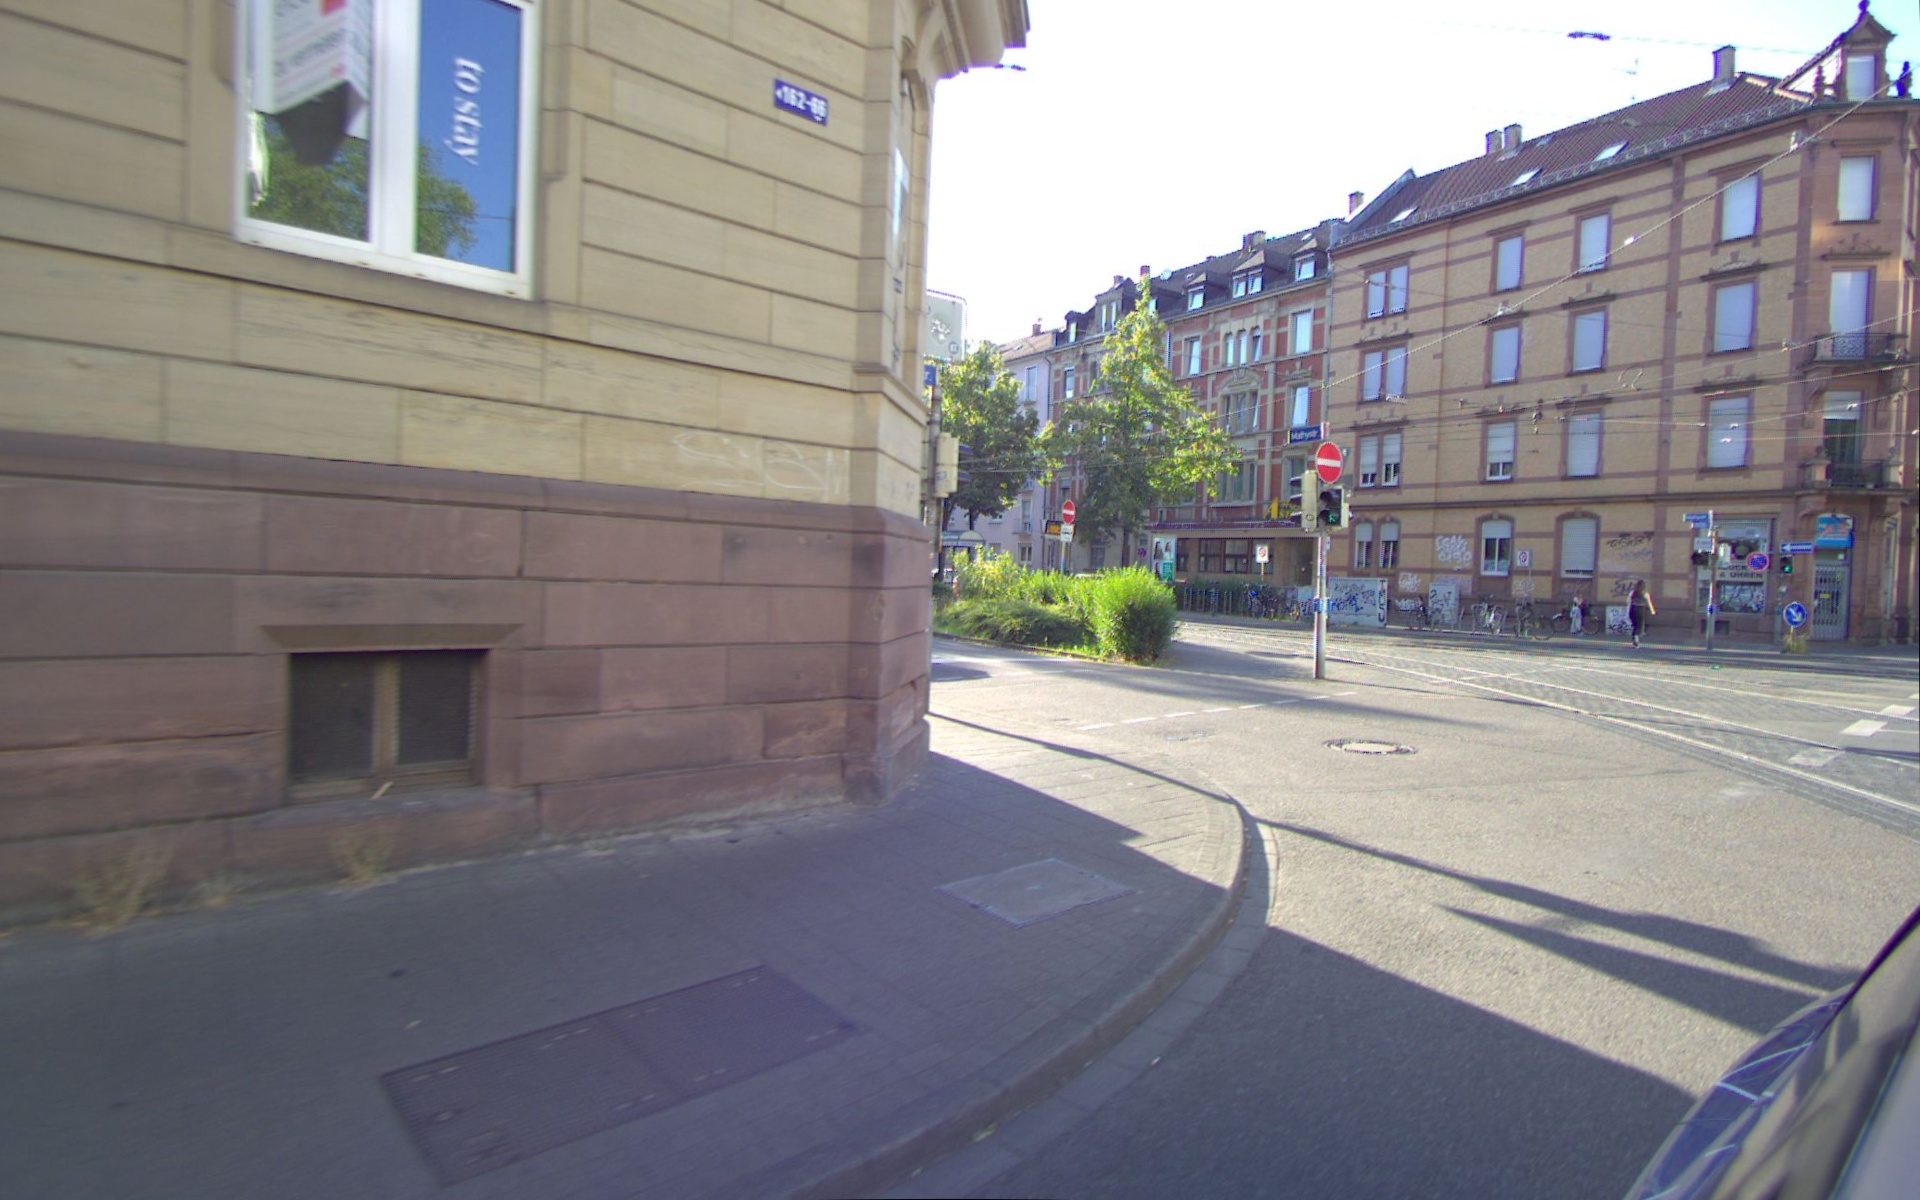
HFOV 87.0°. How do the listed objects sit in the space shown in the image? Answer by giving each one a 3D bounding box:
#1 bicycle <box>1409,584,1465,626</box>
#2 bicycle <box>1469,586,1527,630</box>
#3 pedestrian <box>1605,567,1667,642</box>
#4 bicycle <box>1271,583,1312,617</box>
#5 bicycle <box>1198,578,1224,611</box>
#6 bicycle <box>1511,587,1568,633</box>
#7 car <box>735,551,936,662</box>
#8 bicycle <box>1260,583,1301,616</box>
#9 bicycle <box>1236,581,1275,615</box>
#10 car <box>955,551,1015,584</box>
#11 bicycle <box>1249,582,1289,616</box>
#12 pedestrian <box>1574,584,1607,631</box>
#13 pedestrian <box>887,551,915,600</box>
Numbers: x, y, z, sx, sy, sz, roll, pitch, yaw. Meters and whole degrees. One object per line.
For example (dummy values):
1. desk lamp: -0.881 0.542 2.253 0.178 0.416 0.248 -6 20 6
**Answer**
1. bicycle: 15.495 0.176 32.868 1.931 1.278 0.757 1 3 -36
2. bicycle: 16.728 0.255 31.464 1.931 1.278 0.757 1 3 -36
3. pedestrian: 17.508 0.112 26.207 1.065 1.829 1.024 2 2 -43
4. bicycle: 12.156 -0.014 37.155 0.489 1.121 1.804 3 2 -13
5. bicycle: 9.213 -0.204 37.247 0.491 1.121 1.800 3 2 2
6. bicycle: 17.337 0.302 30.263 1.800 1.278 0.757 1 3 -36
7. car: -2.311 -0.015 17.688 1.906 1.651 4.278 -1 4 -31
8. bicycle: 11.705 -0.035 37.027 0.489 1.121 1.804 3 2 -13
9. bicycle: 10.719 -0.088 36.745 0.489 1.121 1.804 3 2 -13
10. car: 1.621 -2.130 65.994 1.937 1.841 3.987 4 1 -31
11. bicycle: 11.266 -0.058 36.915 0.489 1.121 1.804 3 2 -13
12. pedestrian: 22.484 0.259 36.100 0.749 1.589 0.745 -3 4 -33
13. pedestrian: -2.583 -1.055 44.076 0.846 2.038 0.607 5 2 -29
